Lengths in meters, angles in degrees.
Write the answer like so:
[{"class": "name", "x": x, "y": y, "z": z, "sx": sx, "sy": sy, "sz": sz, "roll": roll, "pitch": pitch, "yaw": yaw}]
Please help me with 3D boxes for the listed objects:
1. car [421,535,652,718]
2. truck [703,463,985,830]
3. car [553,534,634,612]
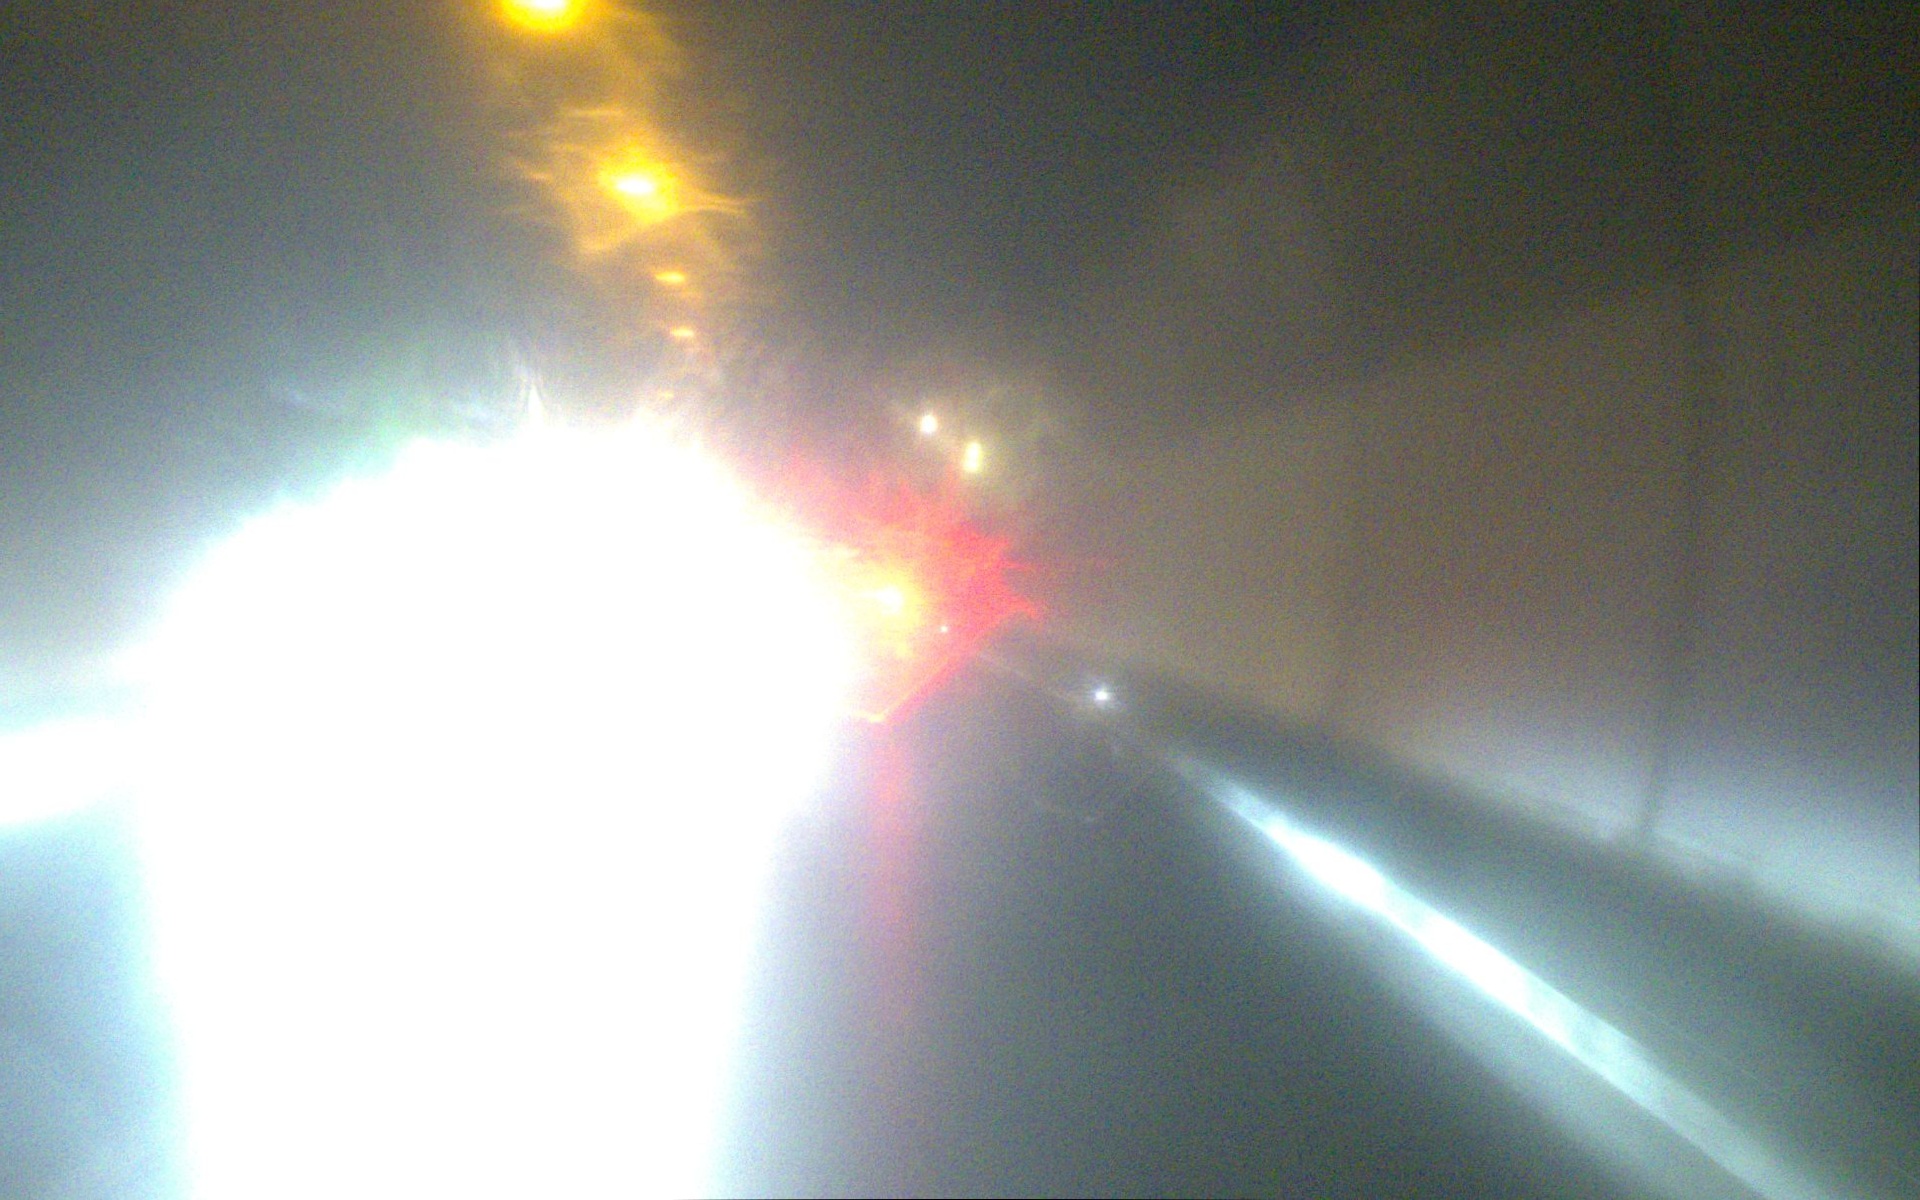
[{"class": "car", "x": -3.744, "y": 0.196, "z": 30.899, "sx": 1.655, "sy": 1.488, "sz": 3.839, "roll": 2, "pitch": 1, "yaw": -2}, {"class": "truck", "x": -0.986, "y": 0.342, "z": 32.454, "sx": 2.262, "sy": 3.000, "sz": 7.415, "roll": 2, "pitch": 1, "yaw": 0}, {"class": "car", "x": -7.936, "y": -0.600, "z": 74.610, "sx": 1.630, "sy": 1.644, "sz": 3.776, "roll": 0, "pitch": 1, "yaw": -4}]
